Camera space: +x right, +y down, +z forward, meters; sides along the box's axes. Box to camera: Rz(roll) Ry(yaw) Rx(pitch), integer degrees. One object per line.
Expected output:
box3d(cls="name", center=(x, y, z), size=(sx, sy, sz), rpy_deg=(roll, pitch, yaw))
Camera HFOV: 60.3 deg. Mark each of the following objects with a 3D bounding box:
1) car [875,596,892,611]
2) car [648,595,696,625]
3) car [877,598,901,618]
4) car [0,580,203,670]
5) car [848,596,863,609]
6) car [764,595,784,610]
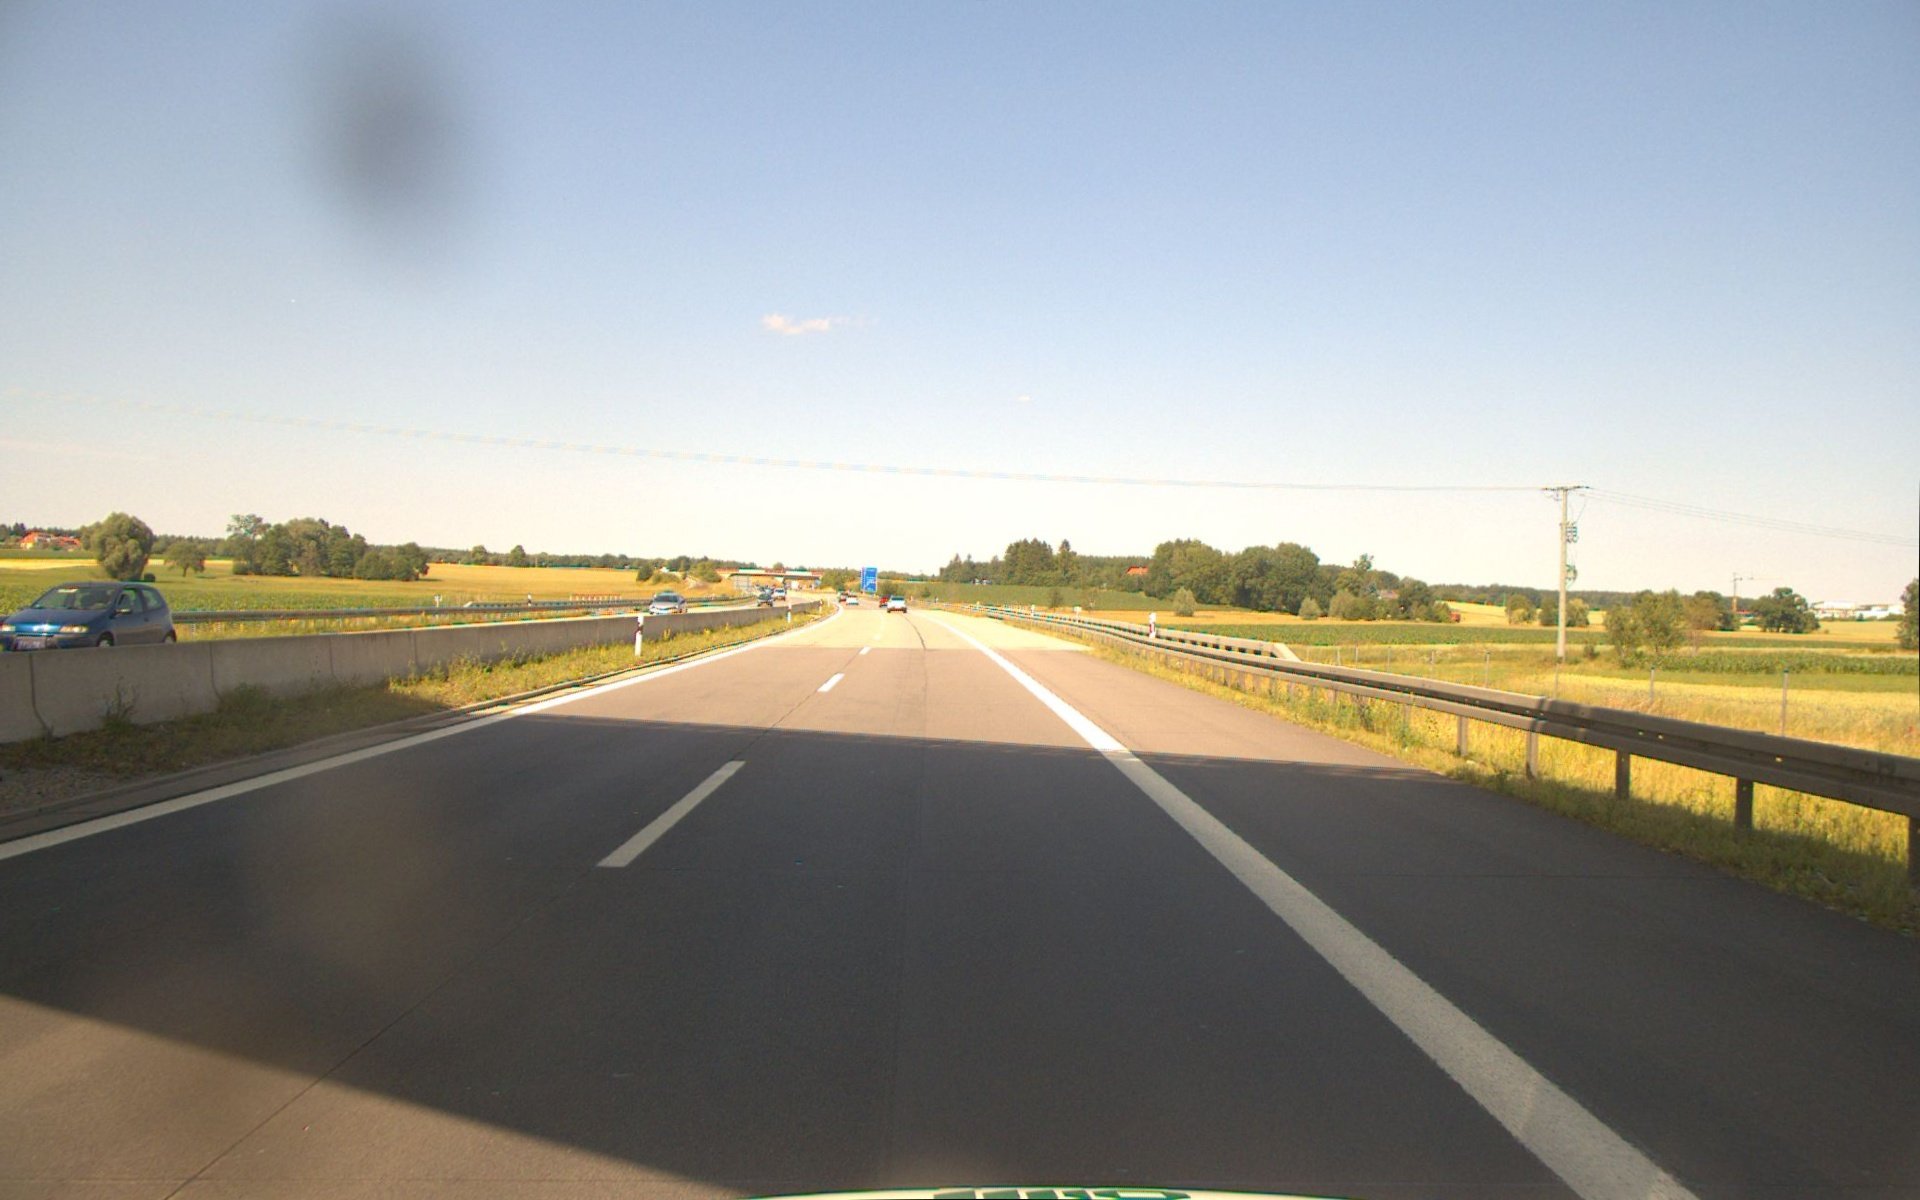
box3d(cls="car", center=(-9.614, 0.448, 208.237), size=(1.954, 1.761, 4.865), rpy_deg=(2, 0, -4))
box3d(cls="car", center=(-16.344, 0.584, 94.097), size=(1.953, 1.606, 4.894), rpy_deg=(2, 0, -2))
box3d(cls="car", center=(-6.776, 0.763, 157.047), size=(1.955, 1.761, 4.863), rpy_deg=(2, 0, -6))
box3d(cls="car", center=(-15.381, 0.414, 29.574), size=(1.817, 1.486, 4.194), rpy_deg=(1, 0, -2))
box3d(cls="car", center=(-14.956, 0.391, 236.305), size=(1.953, 1.761, 4.867), rpy_deg=(2, 0, -2))
box3d(cls="car", center=(-20.864, 0.303, 185.840), size=(1.822, 1.540, 4.583), rpy_deg=(3, 0, -3))
